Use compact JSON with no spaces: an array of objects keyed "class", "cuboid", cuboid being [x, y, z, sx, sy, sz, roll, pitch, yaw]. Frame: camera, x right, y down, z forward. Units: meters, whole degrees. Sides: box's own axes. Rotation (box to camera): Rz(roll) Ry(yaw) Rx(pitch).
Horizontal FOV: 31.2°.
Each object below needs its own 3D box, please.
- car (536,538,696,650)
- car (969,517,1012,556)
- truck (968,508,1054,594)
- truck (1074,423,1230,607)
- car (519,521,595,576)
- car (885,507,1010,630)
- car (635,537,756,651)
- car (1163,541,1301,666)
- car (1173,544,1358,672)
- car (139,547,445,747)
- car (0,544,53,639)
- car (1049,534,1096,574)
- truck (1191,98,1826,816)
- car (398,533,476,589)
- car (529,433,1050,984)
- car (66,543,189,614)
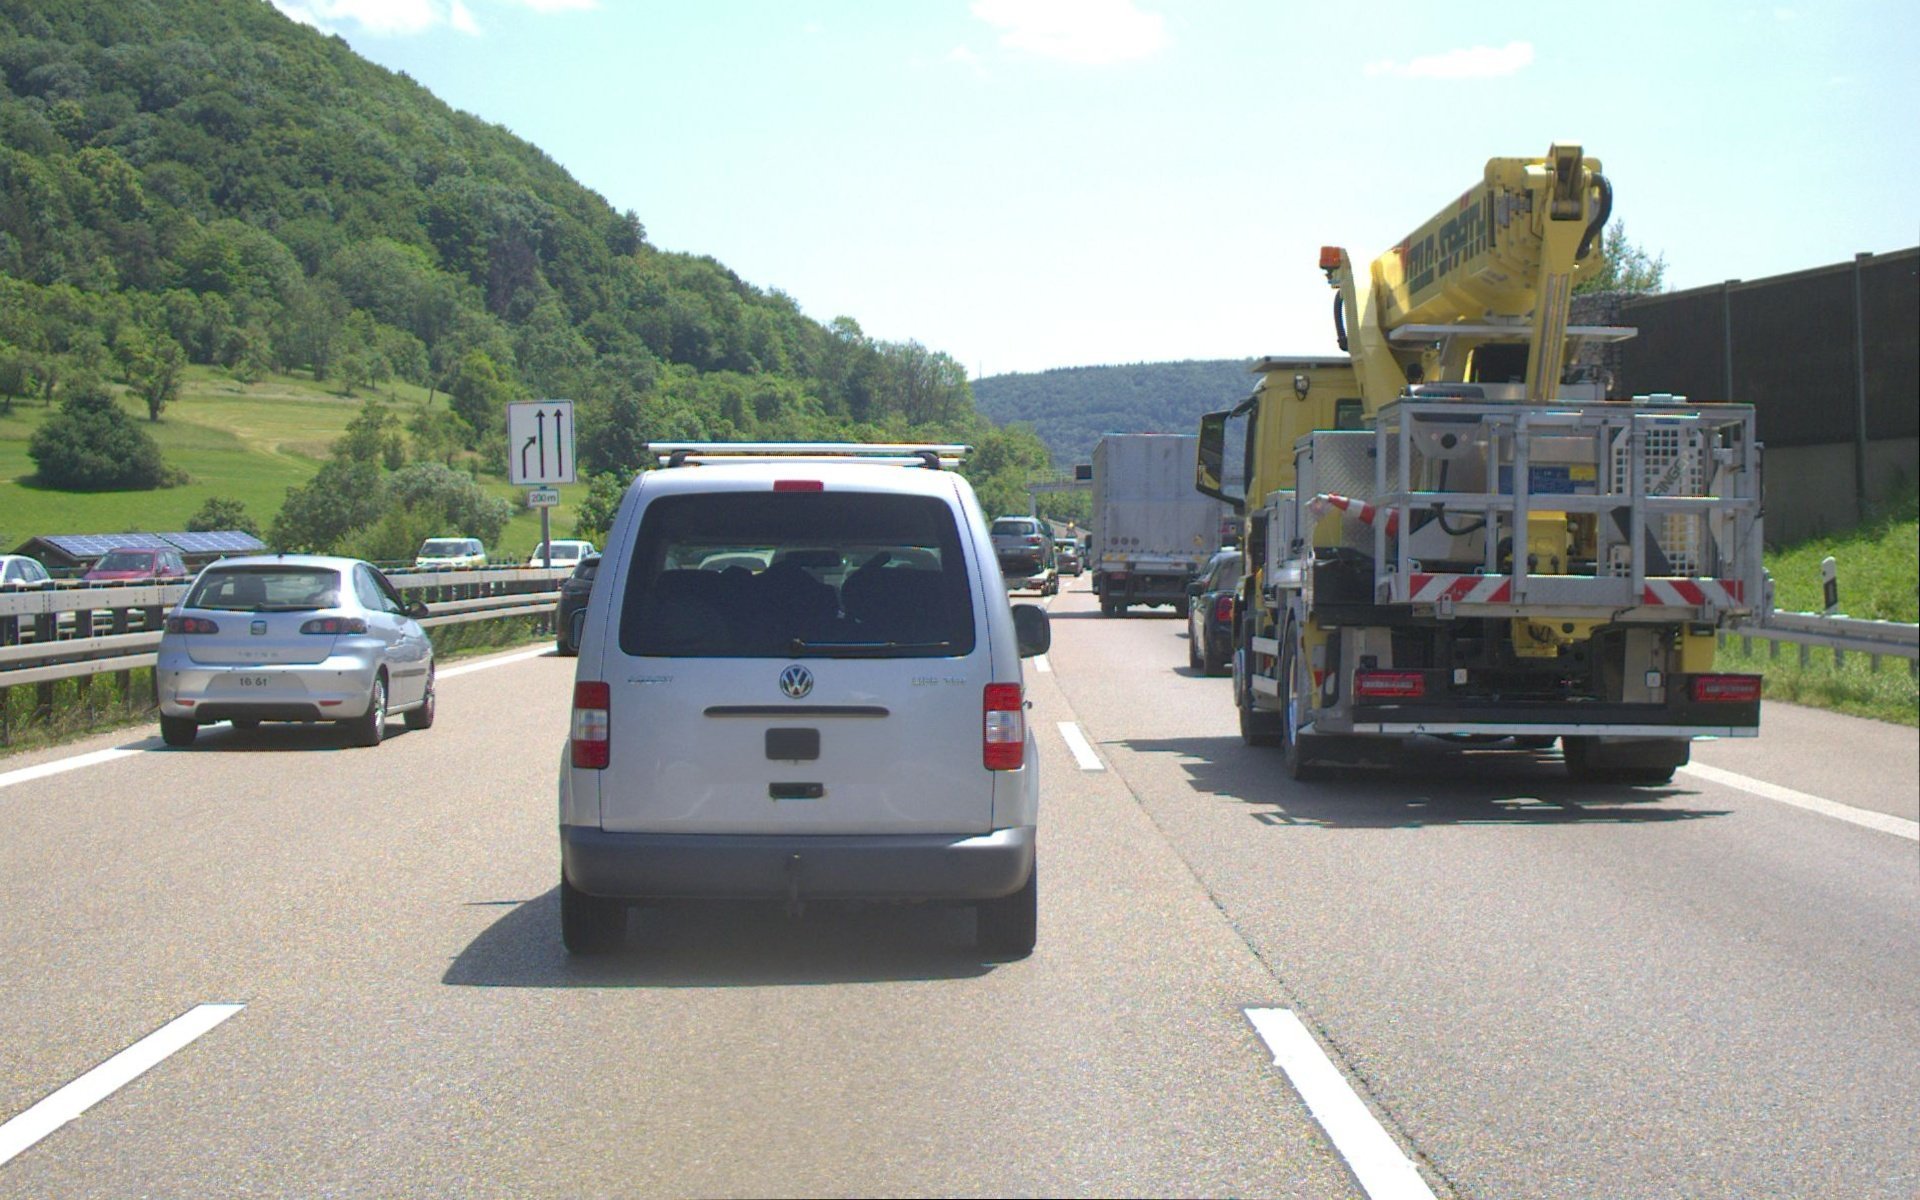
[{"class":"car","cuboid":[-4.789,-0.109,48.323,1.925,1.494,4.000,1,1,-1]},{"class":"car","cuboid":[1.457,-3.024,164.045,1.993,1.799,4.000,1,0,0]},{"class":"truck","cuboid":[1.515,-1.502,105.022,2.390,2.532,5.940,0,1,-1]},{"class":"truck","cuboid":[4.151,-1.811,75.991,2.940,3.810,8.237,1,0,0]},{"class":"car","cuboid":[-13.681,-1.746,117.021,1.993,1.832,5.227,0,1,0]},{"class":"car","cuboid":[-0.243,-0.539,57.424,1.993,1.969,4.000,0,1,-1]},{"class":"car","cuboid":[-4.879,-0.140,63.909,1.993,2.007,4.000,-1,1,-1]},{"class":"car","cuboid":[4.505,0.021,57.485,1.993,2.007,4.000,0,1,0]},{"class":"car","cuboid":[3.602,0.058,41.061,1.786,1.453,3.771,0,1,-1]},{"class":"car","cuboid":[-5.137,0.313,26.873,1.695,1.440,3.862,0,1,-1]},{"class":"car","cuboid":[-15.696,-0.149,53.501,1.993,1.450,4.527,0,1,-1]},{"class":"car","cuboid":[5.140,-2.084,157.537,1.993,1.799,4.000,1,0,0]},{"class":"truck","cuboid":[3.307,-0.856,23.223,2.704,3.929,8.722,0,1,-1]},{"class":"car","cuboid":[-18.319,-1.374,120.648,2.060,1.935,4.661,0,1,0]},{"class":"car","cuboid":[-0.623,0.336,13.650,1.756,1.861,4.000,0,1,-1]},{"class":"car","cuboid":[-19.636,-0.530,81.241,1.825,1.639,4.545,0,1,0]}]
